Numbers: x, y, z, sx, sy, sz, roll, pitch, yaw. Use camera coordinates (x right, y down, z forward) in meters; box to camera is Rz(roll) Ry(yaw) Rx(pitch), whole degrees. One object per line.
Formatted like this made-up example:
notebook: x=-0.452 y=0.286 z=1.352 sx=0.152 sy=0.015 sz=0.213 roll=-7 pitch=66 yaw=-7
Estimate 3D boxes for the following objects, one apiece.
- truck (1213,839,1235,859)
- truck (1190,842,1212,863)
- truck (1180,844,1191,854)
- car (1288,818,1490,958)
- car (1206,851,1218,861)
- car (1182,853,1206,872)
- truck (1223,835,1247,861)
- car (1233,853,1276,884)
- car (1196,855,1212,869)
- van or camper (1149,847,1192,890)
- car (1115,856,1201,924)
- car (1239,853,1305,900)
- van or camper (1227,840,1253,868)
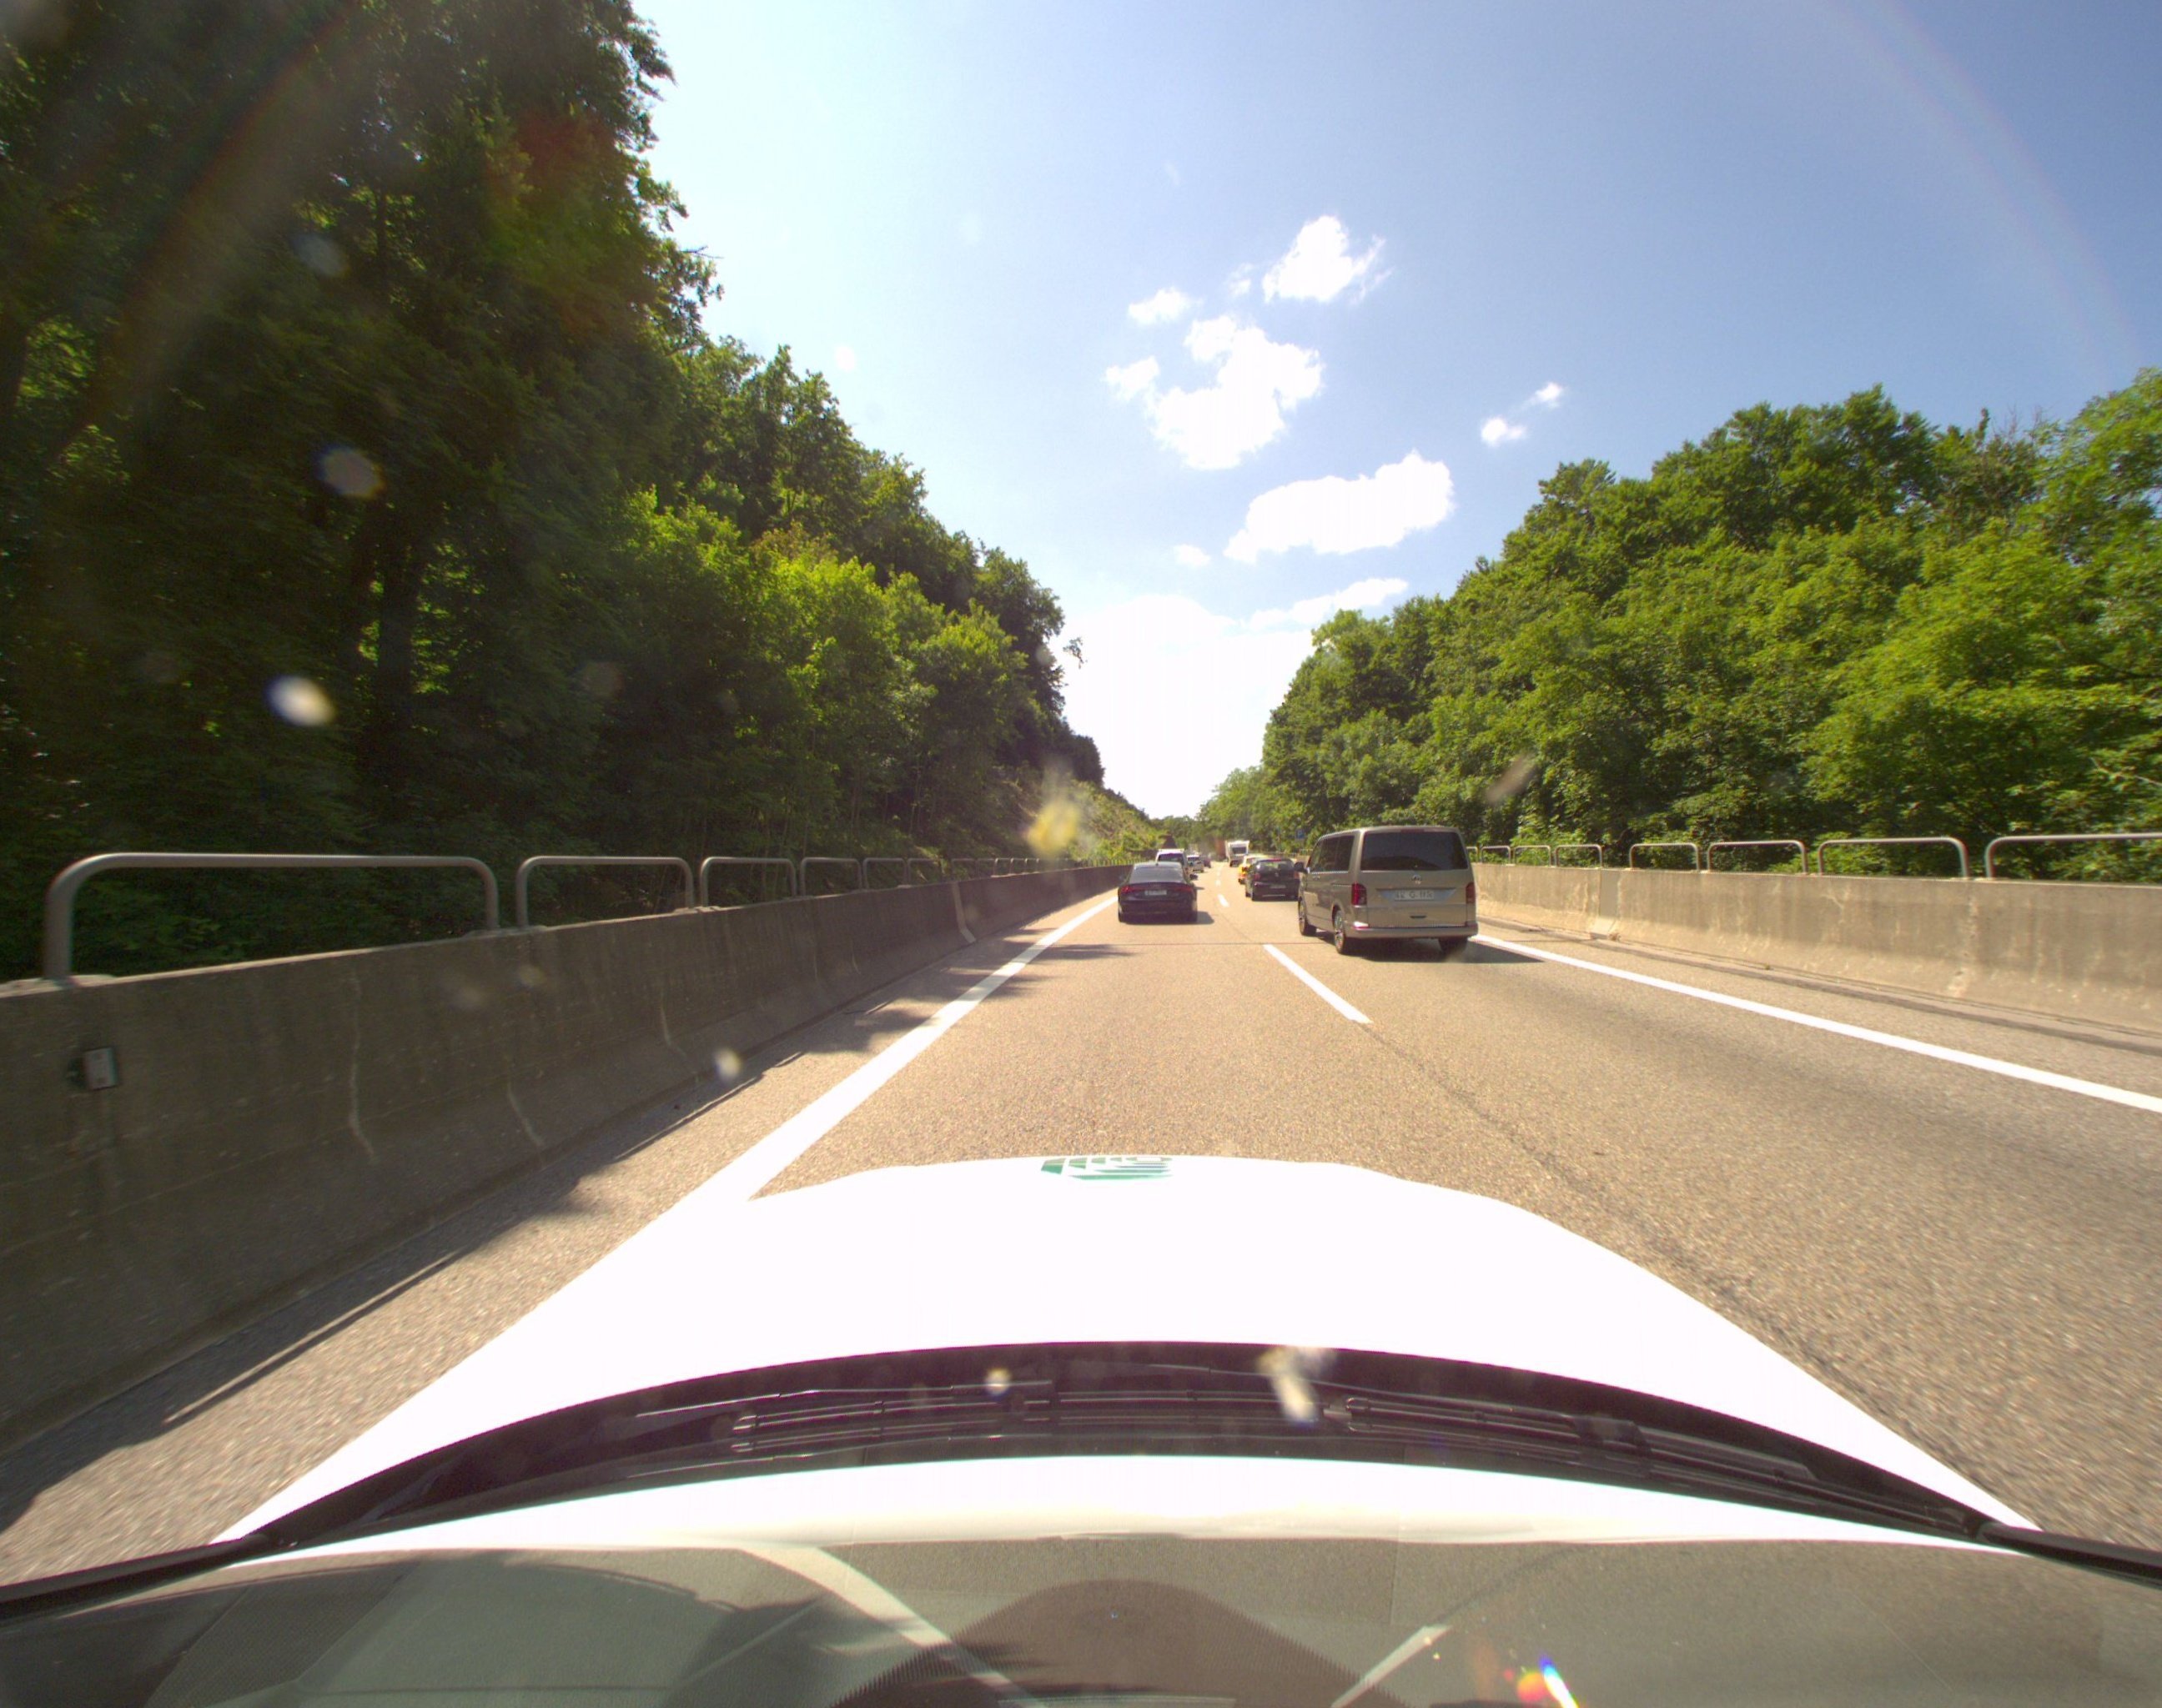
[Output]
truck: x=25.554 y=-0.817 z=145.779 sx=3.149 sy=3.468 sz=8.231 roll=-1 pitch=0 yaw=4
truck: x=27.176 y=-0.374 z=184.644 sx=3.699 sy=4.504 sz=7.721 roll=-1 pitch=0 yaw=-1
truck: x=22.707 y=-1.138 z=177.514 sx=1.986 sy=2.013 sz=4.002 roll=-1 pitch=0 yaw=2
car: x=4.937 y=0.493 z=13.847 sx=1.932 sy=1.931 sz=4.700 roll=-2 pitch=0 yaw=4
car: x=26.617 y=0.367 z=165.836 sx=1.985 sy=1.860 sz=4.004 roll=-1 pitch=0 yaw=4
car: x=9.846 y=0.750 z=71.393 sx=1.886 sy=1.584 sz=3.776 roll=-1 pitch=0 yaw=5
truck: x=23.369 y=-0.864 z=124.075 sx=2.910 sy=3.687 sz=7.737 roll=-1 pitch=0 yaw=6
car: x=8.909 y=0.710 z=42.073 sx=1.798 sy=1.478 sz=4.090 roll=-2 pitch=0 yaw=7
car: x=14.260 y=0.934 z=94.004 sx=1.741 sy=1.571 sz=3.780 roll=-2 pitch=0 yaw=9
van or camper: x=4.357 y=0.668 z=39.192 sx=1.843 sy=1.942 sz=4.174 roll=-2 pitch=0 yaw=8
car: x=1.875 y=0.814 z=20.565 sx=1.896 sy=1.489 sz=4.383 roll=-2 pitch=0 yaw=4
car: x=6.509 y=0.736 z=28.154 sx=1.676 sy=1.458 sz=4.006 roll=-2 pitch=0 yaw=6
van or camper: x=17.077 y=-0.009 z=87.908 sx=2.587 sy=2.855 sz=6.353 roll=-2 pitch=0 yaw=10
